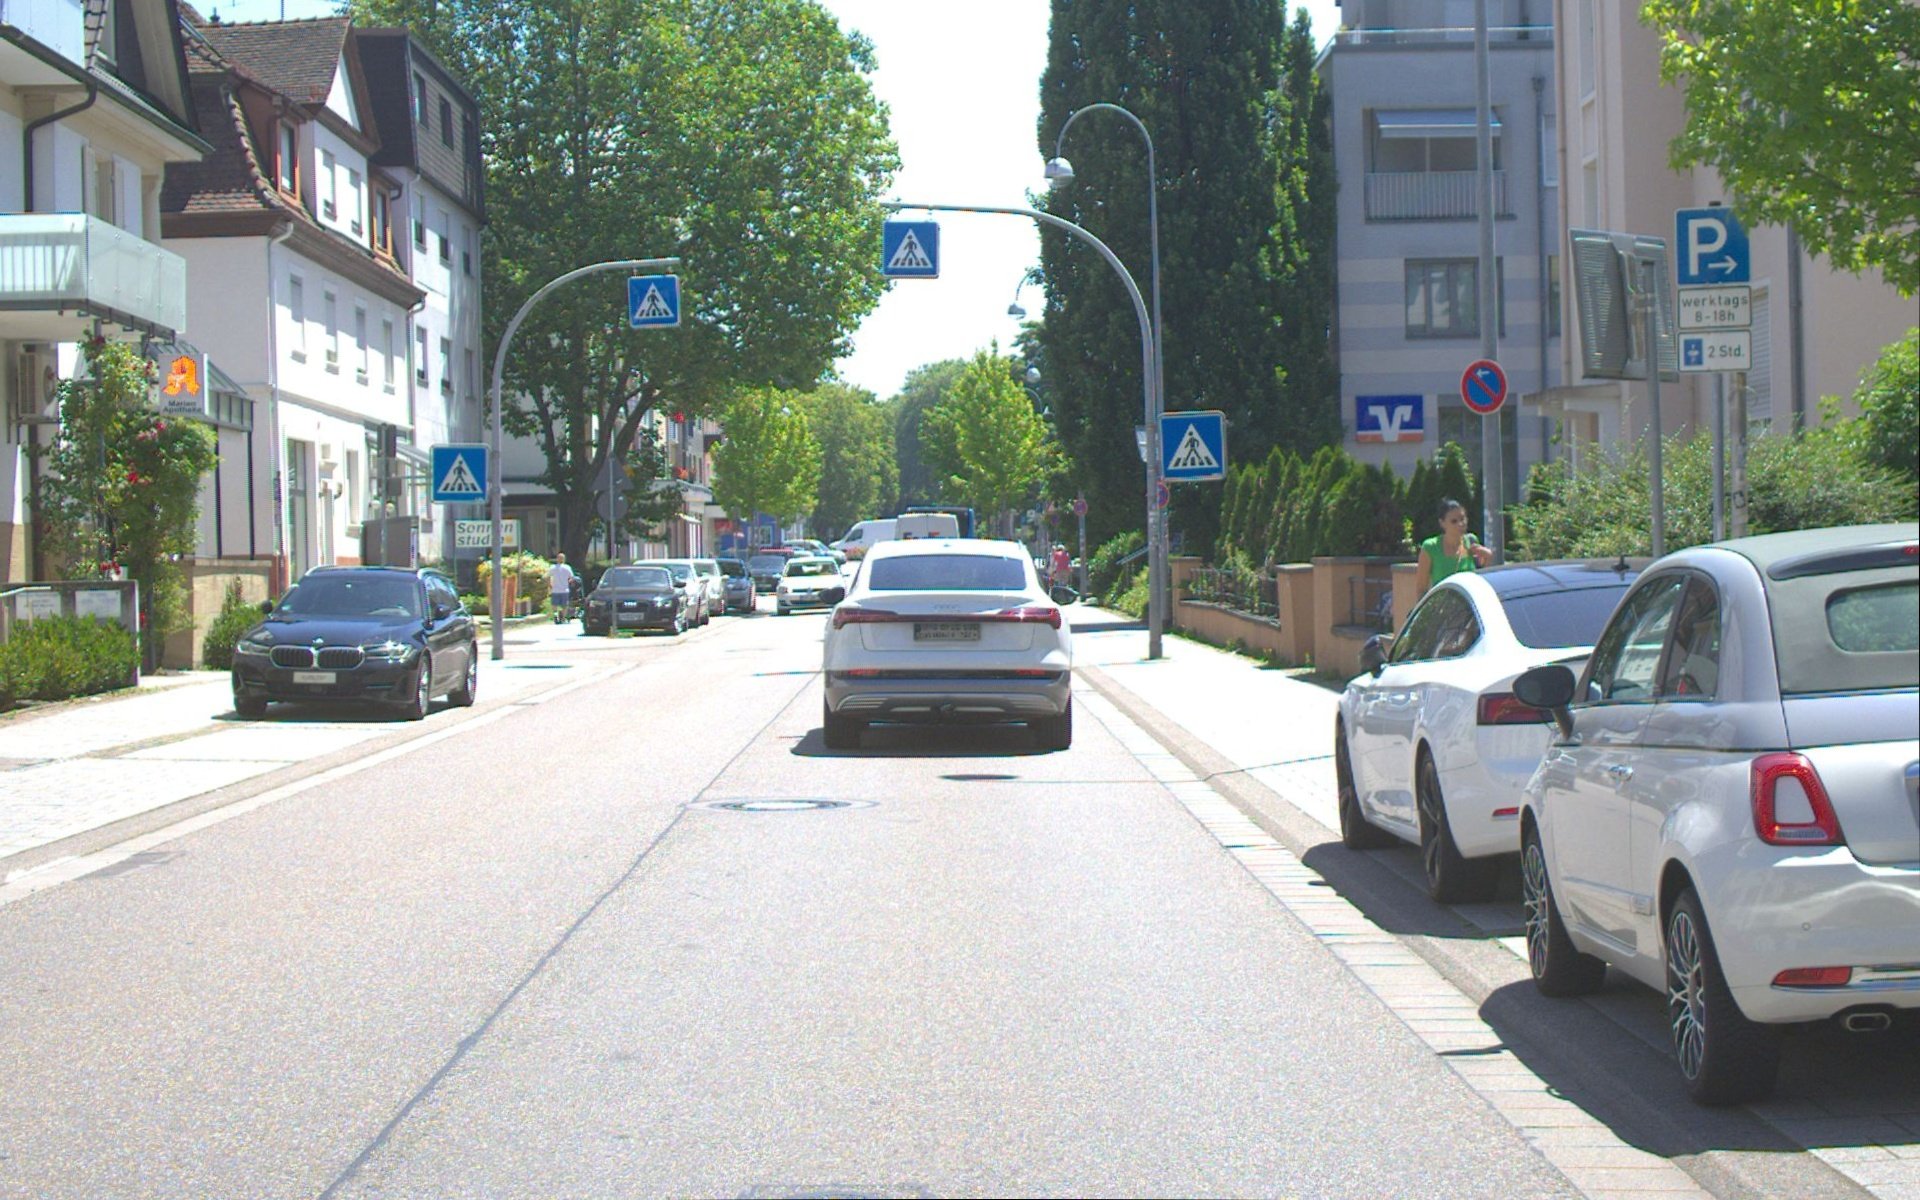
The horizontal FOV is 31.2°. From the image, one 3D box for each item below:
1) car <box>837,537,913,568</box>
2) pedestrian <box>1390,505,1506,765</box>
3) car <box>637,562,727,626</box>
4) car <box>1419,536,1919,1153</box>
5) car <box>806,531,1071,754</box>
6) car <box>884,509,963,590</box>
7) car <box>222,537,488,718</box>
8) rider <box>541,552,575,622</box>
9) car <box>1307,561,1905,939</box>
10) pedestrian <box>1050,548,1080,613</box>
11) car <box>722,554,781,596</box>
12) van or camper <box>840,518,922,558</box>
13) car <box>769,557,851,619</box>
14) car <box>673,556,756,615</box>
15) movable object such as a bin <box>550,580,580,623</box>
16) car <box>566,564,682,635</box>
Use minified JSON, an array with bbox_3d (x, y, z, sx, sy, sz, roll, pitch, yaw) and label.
[{"bbox_3d":[-4.771,-2.652,193.433,3.988,1.645,2.000,-1,1,7],"label":"car"},{"bbox_3d":[3.350,0.233,23.633,0.637,1.752,0.617,-1,0,-5],"label":"pedestrian"},{"bbox_3d":[-6.937,-0.163,86.249,1.993,1.515,4.000,-1,1,-1],"label":"car"},{"bbox_3d":[2.615,0.566,10.679,1.658,1.483,4.346,-3,1,-1],"label":"car"},{"bbox_3d":[-0.160,0.294,27.893,1.936,1.609,4.472,2,1,0],"label":"car"},{"bbox_3d":[-1.065,-1.422,97.549,2.069,2.189,5.138,-1,1,-2],"label":"car"},{"bbox_3d":[-6.125,0.241,35.305,1.926,1.714,4.472,1,1,0],"label":"car"},{"bbox_3d":[-8.985,-0.285,76.870,0.661,1.548,0.661,-1,0,0],"label":"rider"},{"bbox_3d":[2.710,0.556,15.429,1.726,1.378,4.402,-3,1,-1],"label":"car"},{"bbox_3d":[2.850,-0.527,93.533,0.693,1.730,0.668,-1,0,-5],"label":"pedestrian"},{"bbox_3d":[-7.720,-0.935,127.431,1.993,1.515,4.000,-1,1,-1],"label":"car"},{"bbox_3d":[-5.141,-4.032,223.817,5.191,2.505,2.269,-1,1,-3],"label":"van or camper"},{"bbox_3d":[-3.840,-0.316,88.517,1.978,1.515,4.000,-1,1,-1],"label":"car"},{"bbox_3d":[-6.580,-0.405,92.437,1.993,1.515,4.000,-1,1,-1],"label":"car"},{"bbox_3d":[-8.905,0.025,77.491,0.587,0.949,0.566,-1,1,0],"label":"movable object such as a bin"},{"bbox_3d":[-6.682,-0.030,68.773,1.993,1.345,4.000,-1,1,-1],"label":"car"}]
